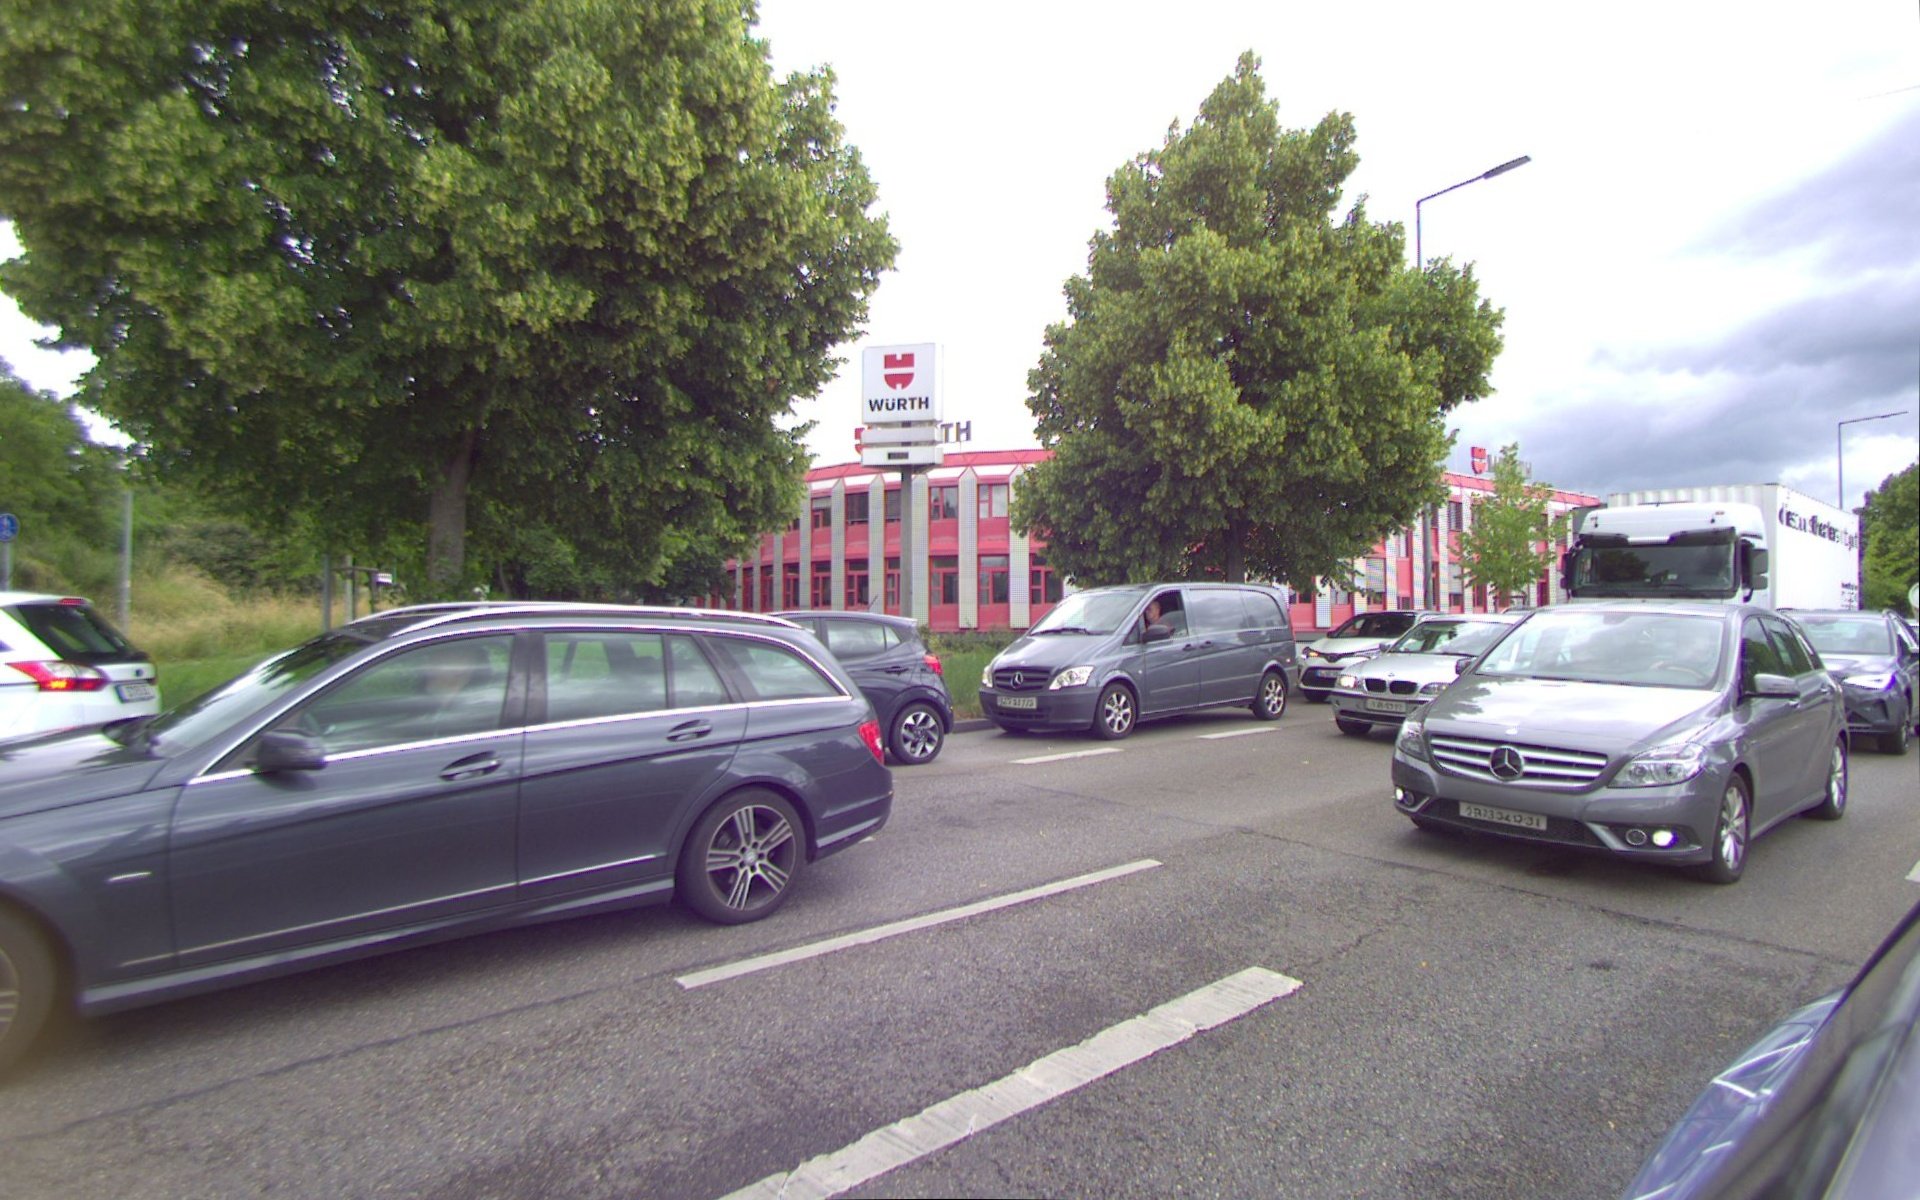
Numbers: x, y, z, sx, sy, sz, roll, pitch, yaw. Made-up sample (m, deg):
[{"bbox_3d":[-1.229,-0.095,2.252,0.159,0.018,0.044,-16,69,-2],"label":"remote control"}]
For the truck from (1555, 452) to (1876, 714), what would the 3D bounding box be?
[{"bbox_3d":[14.970,-0.241,19.607,10.000,3.953,2.808,0,0,-40],"label":"truck"}]

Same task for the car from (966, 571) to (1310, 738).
[{"bbox_3d":[2.427,0.649,13.063,4.591,1.798,1.761,0,-4,-40],"label":"car"}]

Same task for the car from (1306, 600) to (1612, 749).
[{"bbox_3d":[6.006,0.733,11.958,4.215,1.400,1.749,-1,1,-41],"label":"car"}]

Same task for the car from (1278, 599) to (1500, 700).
[{"bbox_3d":[7.405,0.798,17.325,4.034,1.536,1.842,0,-4,-41],"label":"car"}]

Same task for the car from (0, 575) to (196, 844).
[{"bbox_3d":[-7.878,0.694,6.596,4.278,1.676,1.767,0,-1,-20],"label":"car"}]

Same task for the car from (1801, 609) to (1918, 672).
[{"bbox_3d":[24.361,1.048,27.367,4.299,1.549,1.850,1,-1,-41],"label":"car"}]

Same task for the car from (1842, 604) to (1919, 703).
[{"bbox_3d":[16.109,0.862,16.686,3.431,1.525,1.825,2,-1,-39],"label":"car"}]

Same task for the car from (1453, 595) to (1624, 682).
[{"bbox_3d":[12.389,0.803,21.585,4.133,1.679,1.863,1,-3,-41],"label":"car"}]

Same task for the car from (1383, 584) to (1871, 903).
[{"bbox_3d":[4.654,0.712,6.833,3.976,1.527,1.749,1,-1,-41],"label":"car"}]

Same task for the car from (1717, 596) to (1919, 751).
[{"bbox_3d":[10.288,0.746,11.770,3.769,1.512,1.627,1,-1,-41],"label":"car"}]

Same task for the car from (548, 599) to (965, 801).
[{"bbox_3d":[-1.847,0.771,9.504,3.495,1.525,1.608,-1,0,-34],"label":"car"}]

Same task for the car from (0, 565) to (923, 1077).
[{"bbox_3d":[-2.374,0.658,4.521,4.279,1.504,1.749,1,-1,-41],"label":"car"}]
